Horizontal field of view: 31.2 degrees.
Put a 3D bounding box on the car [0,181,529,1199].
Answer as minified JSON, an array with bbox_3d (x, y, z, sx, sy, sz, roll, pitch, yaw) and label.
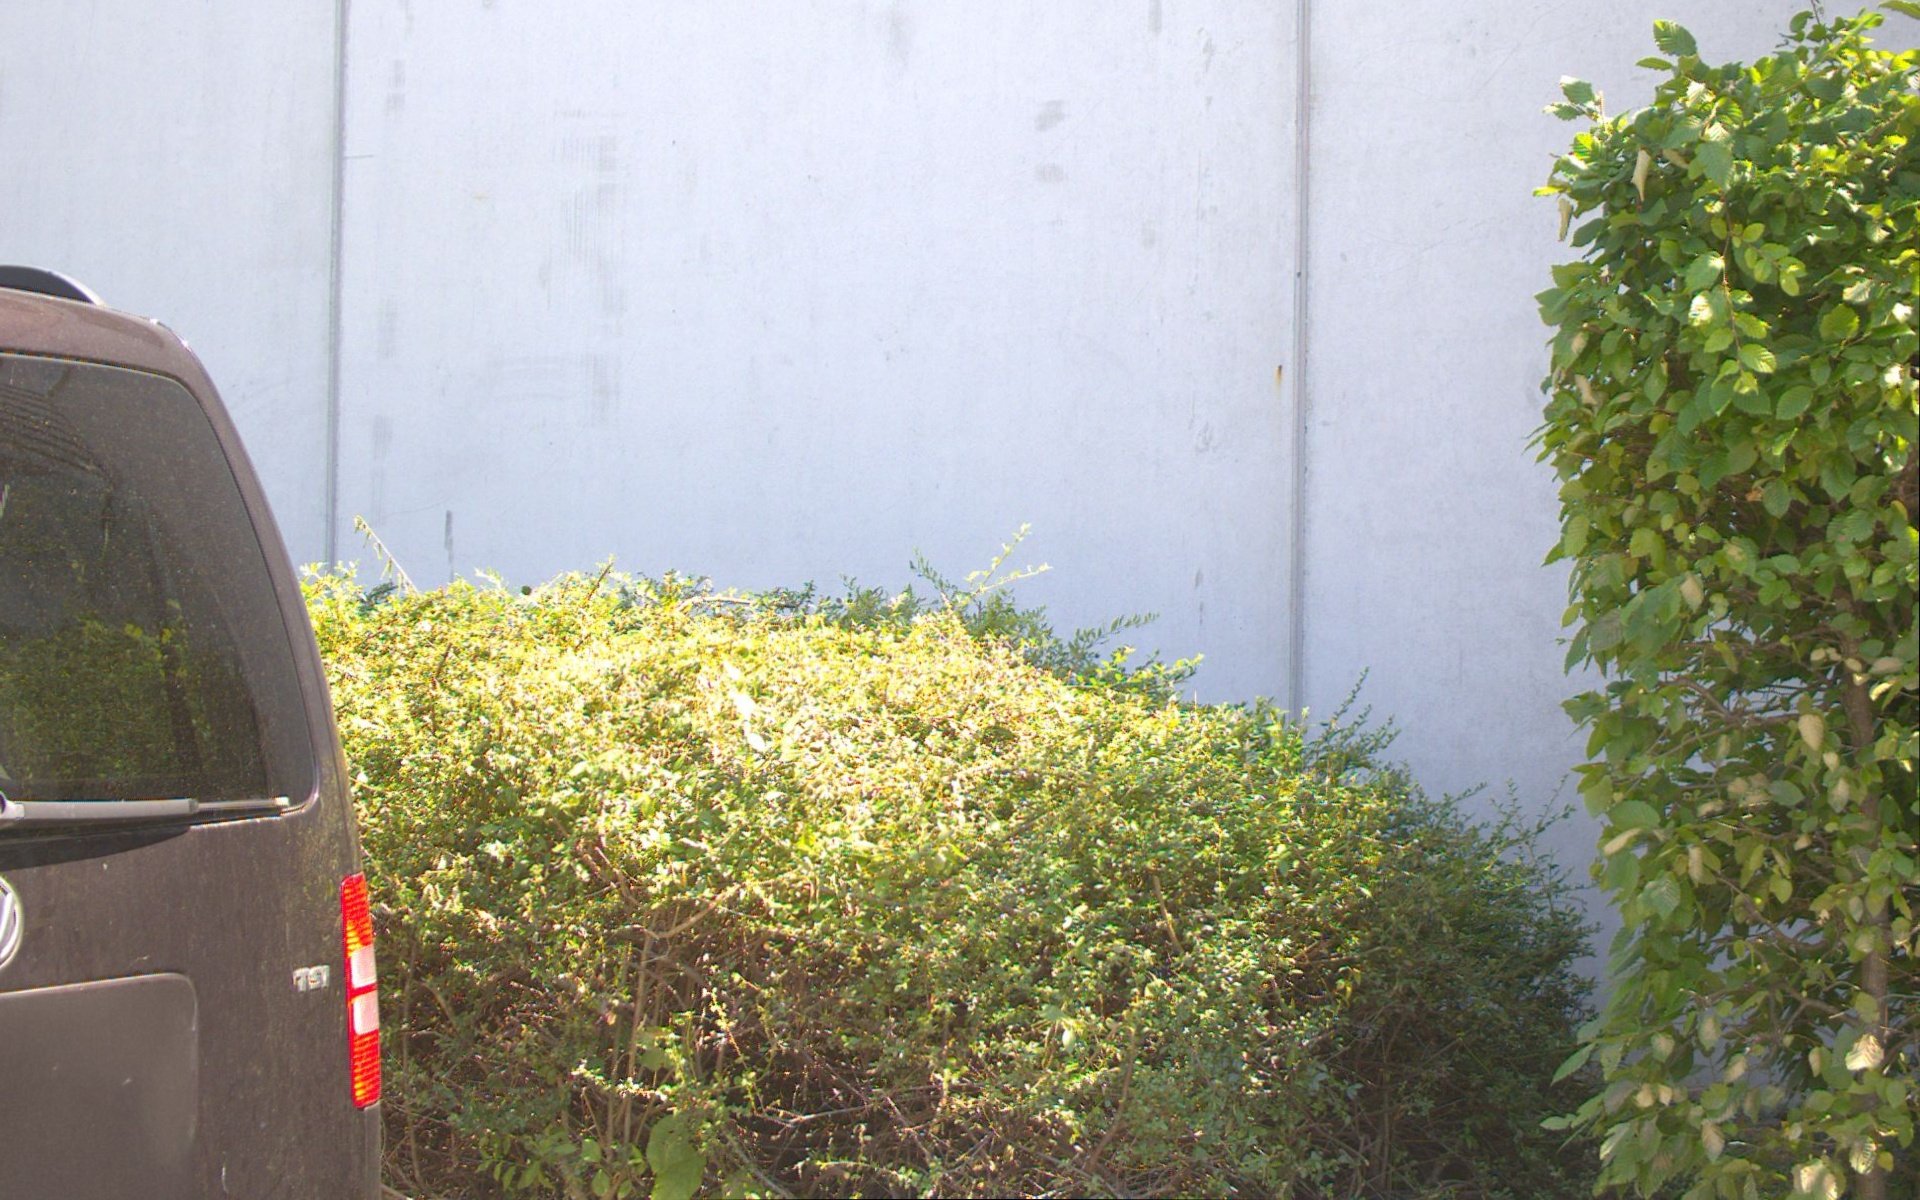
[{"bbox_3d":[-2.703,0.464,4.862,4.066,1.877,1.675,1,1,34],"label":"car"}]
